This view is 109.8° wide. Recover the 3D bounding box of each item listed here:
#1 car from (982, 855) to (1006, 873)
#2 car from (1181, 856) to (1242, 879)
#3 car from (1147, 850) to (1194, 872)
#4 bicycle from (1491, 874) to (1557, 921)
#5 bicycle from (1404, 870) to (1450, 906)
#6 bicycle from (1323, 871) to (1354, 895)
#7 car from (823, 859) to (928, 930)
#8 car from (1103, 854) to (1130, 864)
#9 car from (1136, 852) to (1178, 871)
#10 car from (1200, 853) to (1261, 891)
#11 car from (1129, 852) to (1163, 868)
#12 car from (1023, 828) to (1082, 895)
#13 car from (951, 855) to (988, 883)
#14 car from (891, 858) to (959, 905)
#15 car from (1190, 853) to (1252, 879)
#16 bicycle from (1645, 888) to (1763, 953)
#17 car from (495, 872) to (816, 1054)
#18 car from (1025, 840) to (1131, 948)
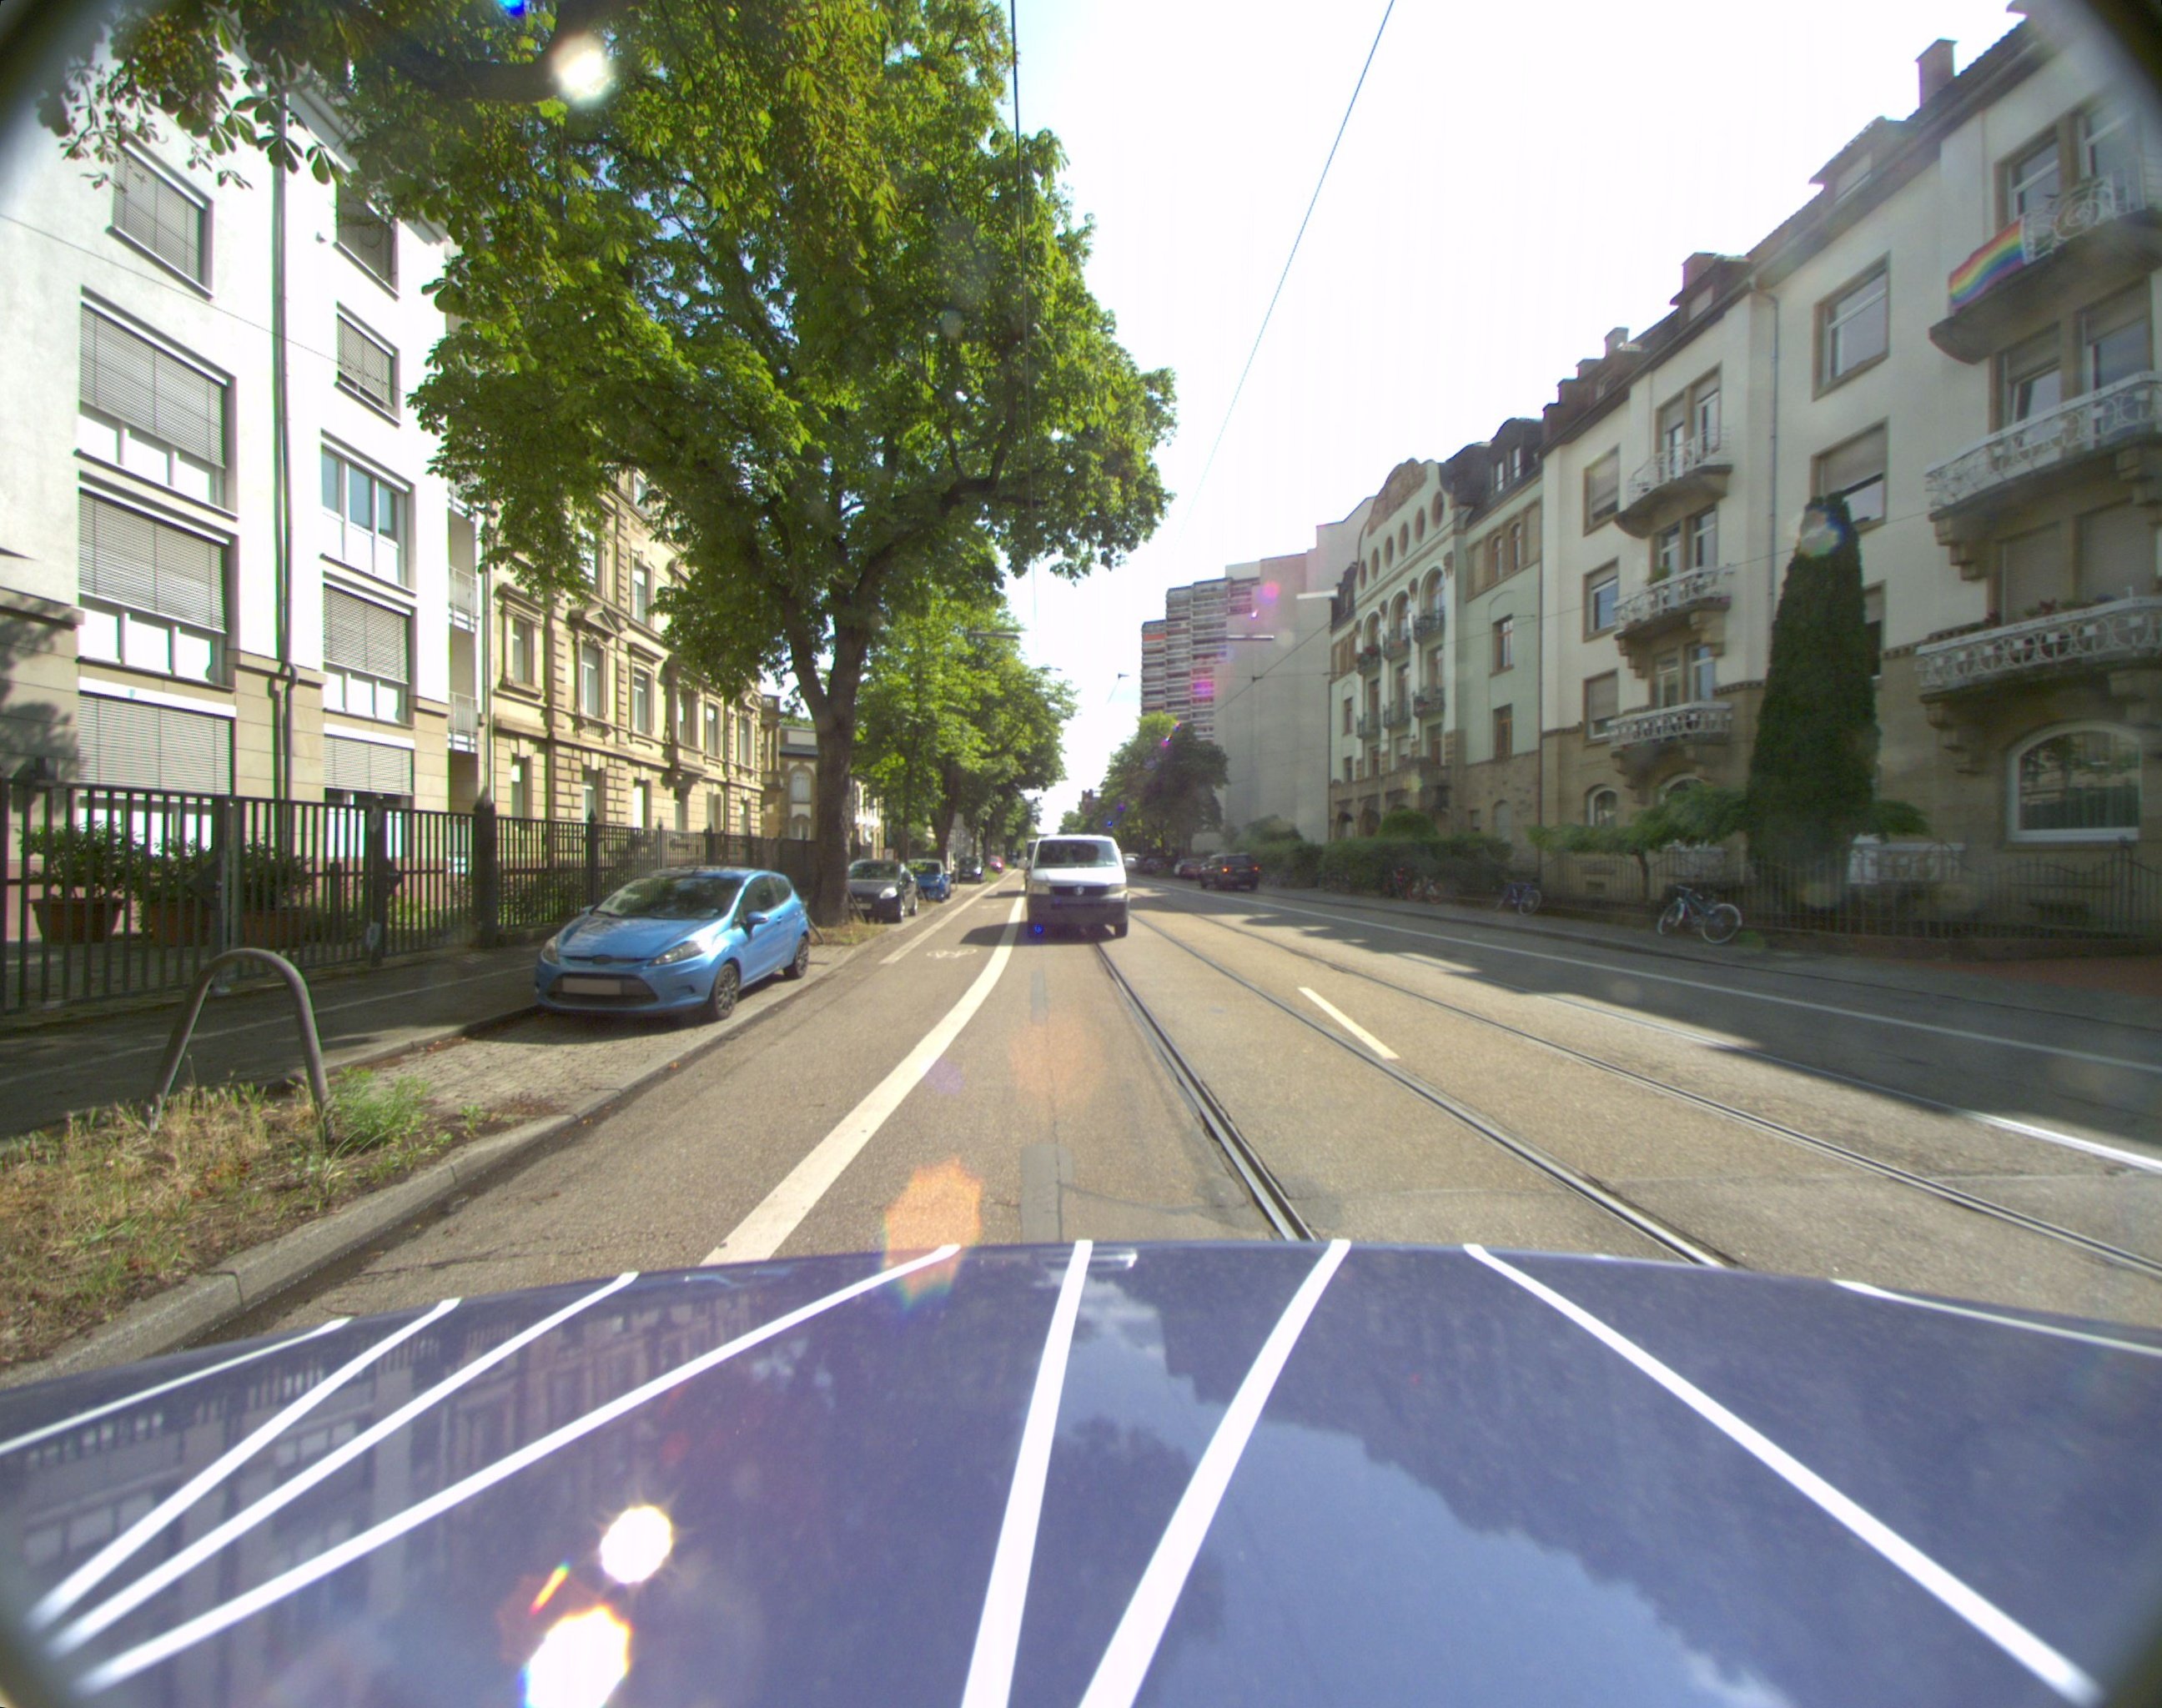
[{"bbox_3d":[-7.800,0.872,68.564,1.774,1.563,4.198,2,0,-3],"label":"car"},{"bbox_3d":[8.909,0.938,52.039,3.890,1.527,1.634,0,0,-1],"label":"car"},{"bbox_3d":[8.055,0.622,68.265,3.997,1.914,1.831,0,0,-1],"label":"car"},{"bbox_3d":[10.893,1.035,18.751,0.539,1.024,1.873,0,1,1],"label":"bicycle"},{"bbox_3d":[10.558,1.018,23.238,0.587,0.980,1.873,0,1,1],"label":"bicycle"},{"bbox_3d":[9.945,1.099,29.366,0.587,0.792,1.873,-2,1,1],"label":"bicycle"},{"bbox_3d":[-4.942,0.918,18.743,1.644,1.499,3.622,2,0,-2],"label":"car"},{"bbox_3d":[5.302,0.684,113.411,3.815,1.455,1.725,0,0,-1],"label":"car"},{"bbox_3d":[7.142,0.689,71.516,3.663,1.832,1.735,0,0,-3],"label":"car"},{"bbox_3d":[7.004,0.790,36.061,1.796,1.701,4.330,0,0,-4],"label":"car"},{"bbox_3d":[6.921,0.608,81.250,3.542,1.733,1.635,0,0,-1],"label":"car"},{"bbox_3d":[-1.297,0.288,32.032,2.168,2.572,5.660,0,0,-5],"label":"car"},{"bbox_3d":[-6.657,0.880,45.727,1.774,1.522,4.198,2,0,-3],"label":"car"},{"bbox_3d":[-5.428,0.917,26.856,1.724,1.443,3.925,2,0,-3],"label":"car"},{"bbox_3d":[9.025,0.780,49.111,3.631,1.630,1.610,0,1,-3],"label":"car"},{"bbox_3d":[11.048,1.148,13.571,0.524,0.901,2.067,0,2,4],"label":"bicycle"},{"bbox_3d":[-4.318,0.998,8.426,1.642,1.447,3.697,2,0,-4],"label":"car"},{"bbox_3d":[-0.037,0.690,15.697,1.831,1.856,4.845,-1,0,0],"label":"car"}]
